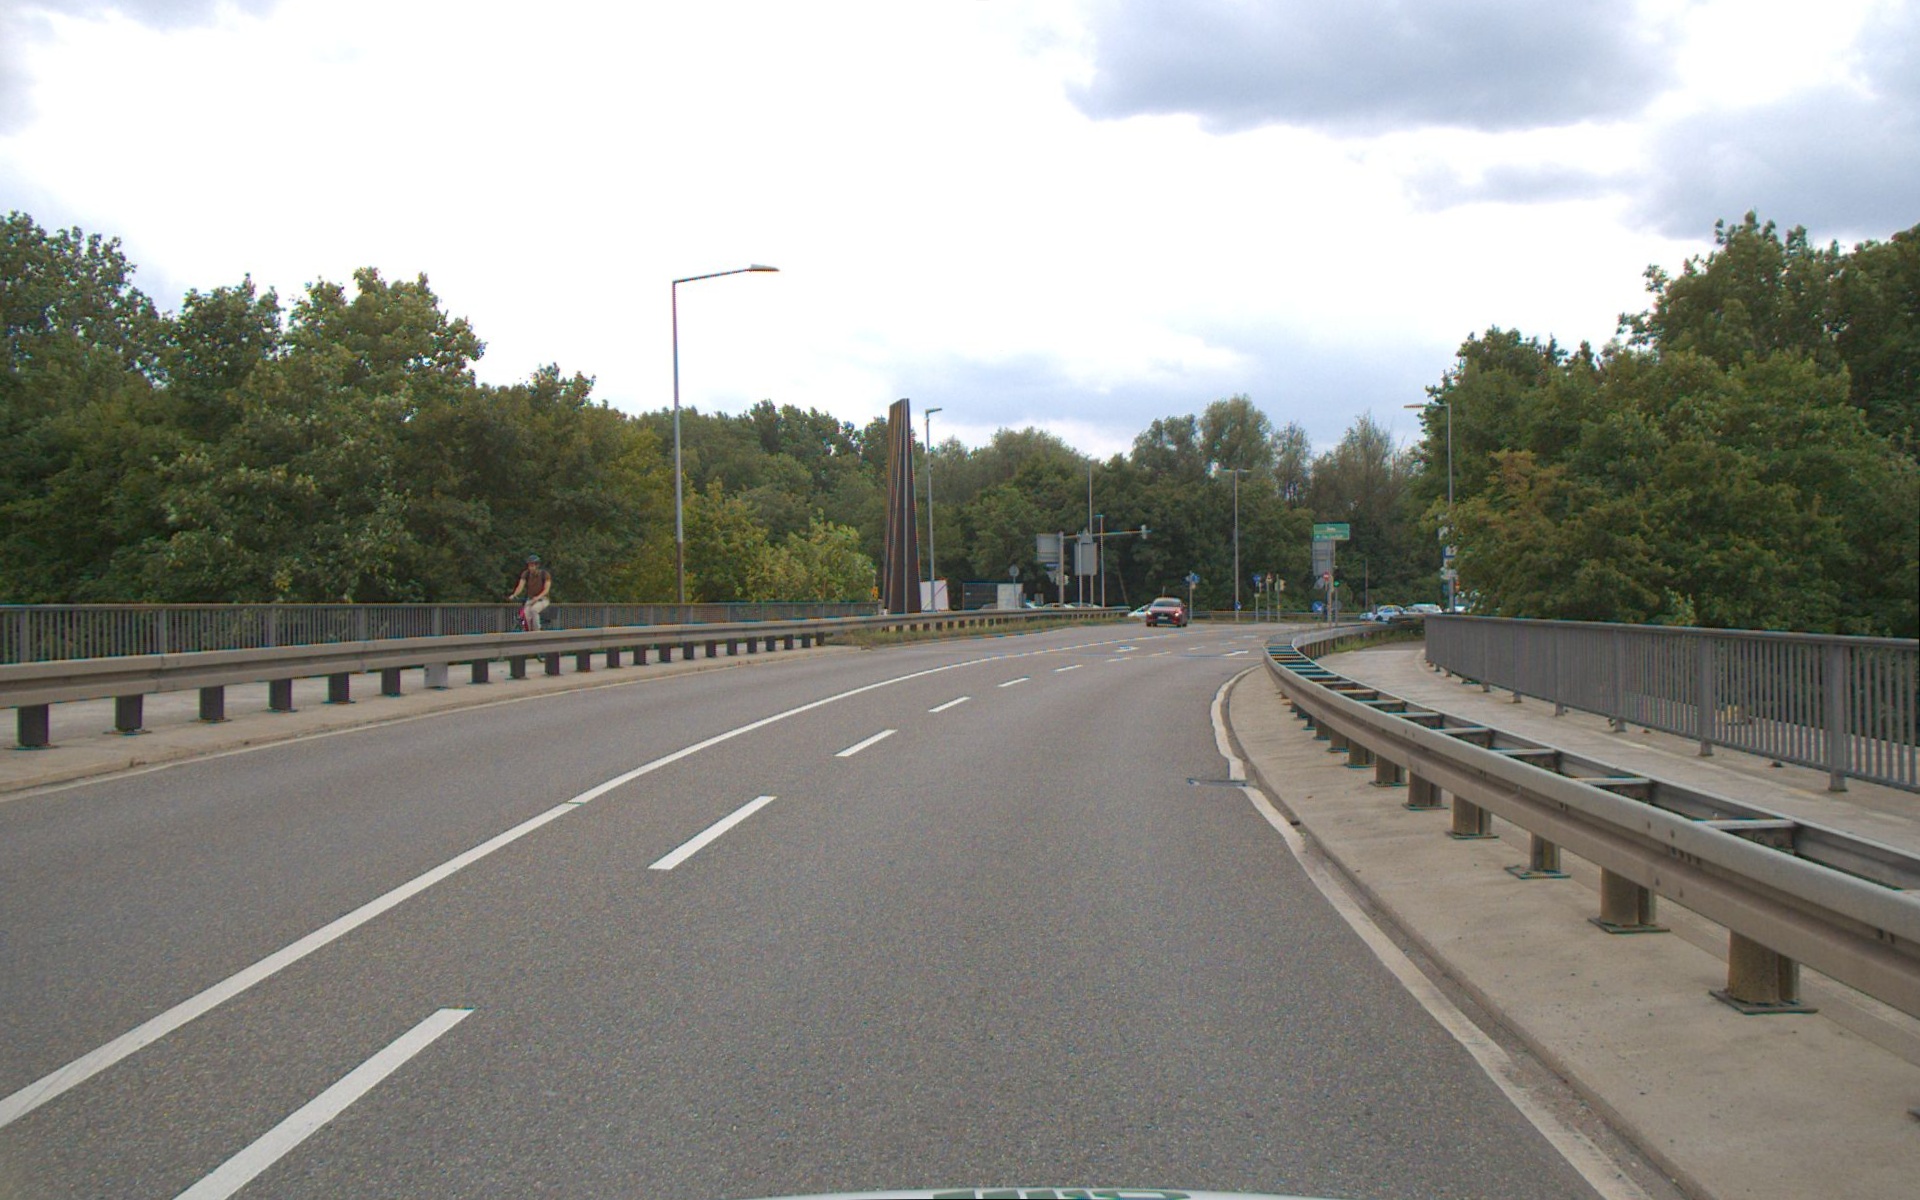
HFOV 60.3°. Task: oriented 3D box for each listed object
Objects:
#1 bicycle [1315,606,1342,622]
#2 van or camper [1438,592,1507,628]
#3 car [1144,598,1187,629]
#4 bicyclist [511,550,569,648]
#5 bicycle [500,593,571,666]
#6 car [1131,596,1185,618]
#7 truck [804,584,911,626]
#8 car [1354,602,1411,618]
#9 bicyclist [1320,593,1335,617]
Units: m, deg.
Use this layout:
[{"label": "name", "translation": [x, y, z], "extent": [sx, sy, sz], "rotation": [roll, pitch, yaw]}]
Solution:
[{"label": "bicycle", "translation": [27.096, 1.044, 121.683], "extent": [0.700, 1.071, 1.919], "rotation": [1, -3, -37]}, {"label": "van or camper", "translation": [38.474, 0.743, 124.127], "extent": [6.446, 2.634, 2.132], "rotation": [1, 0, -44]}, {"label": "car", "translation": [10.458, 0.683, 84.084], "extent": [1.757, 1.498, 4.639], "rotation": [1, 0, 12]}, {"label": "bicyclist", "translation": [-7.249, -0.009, 28.563], "extent": [0.755, 1.660, 0.649], "rotation": [1, -2, 6]}, {"label": "bicycle", "translation": [-7.314, 0.494, 28.564], "extent": [0.621, 1.194, 1.907], "rotation": [1, 0, 3]}, {"label": "car", "translation": [15.442, 0.539, 129.257], "extent": [3.908, 1.579, 1.999], "rotation": [1, 0, -4]}, {"label": "truck", "translation": [-8.150, 0.392, 130.344], "extent": [9.113, 3.190, 2.953], "rotation": [1, 0, 43]}, {"label": "car", "translation": [33.498, 0.805, 131.230], "extent": [4.163, 1.226, 1.981], "rotation": [1, 0, -29]}, {"label": "bicyclist", "translation": [27.064, 0.368, 121.715], "extent": [0.792, 1.765, 0.735], "rotation": [1, -2, -37]}]
